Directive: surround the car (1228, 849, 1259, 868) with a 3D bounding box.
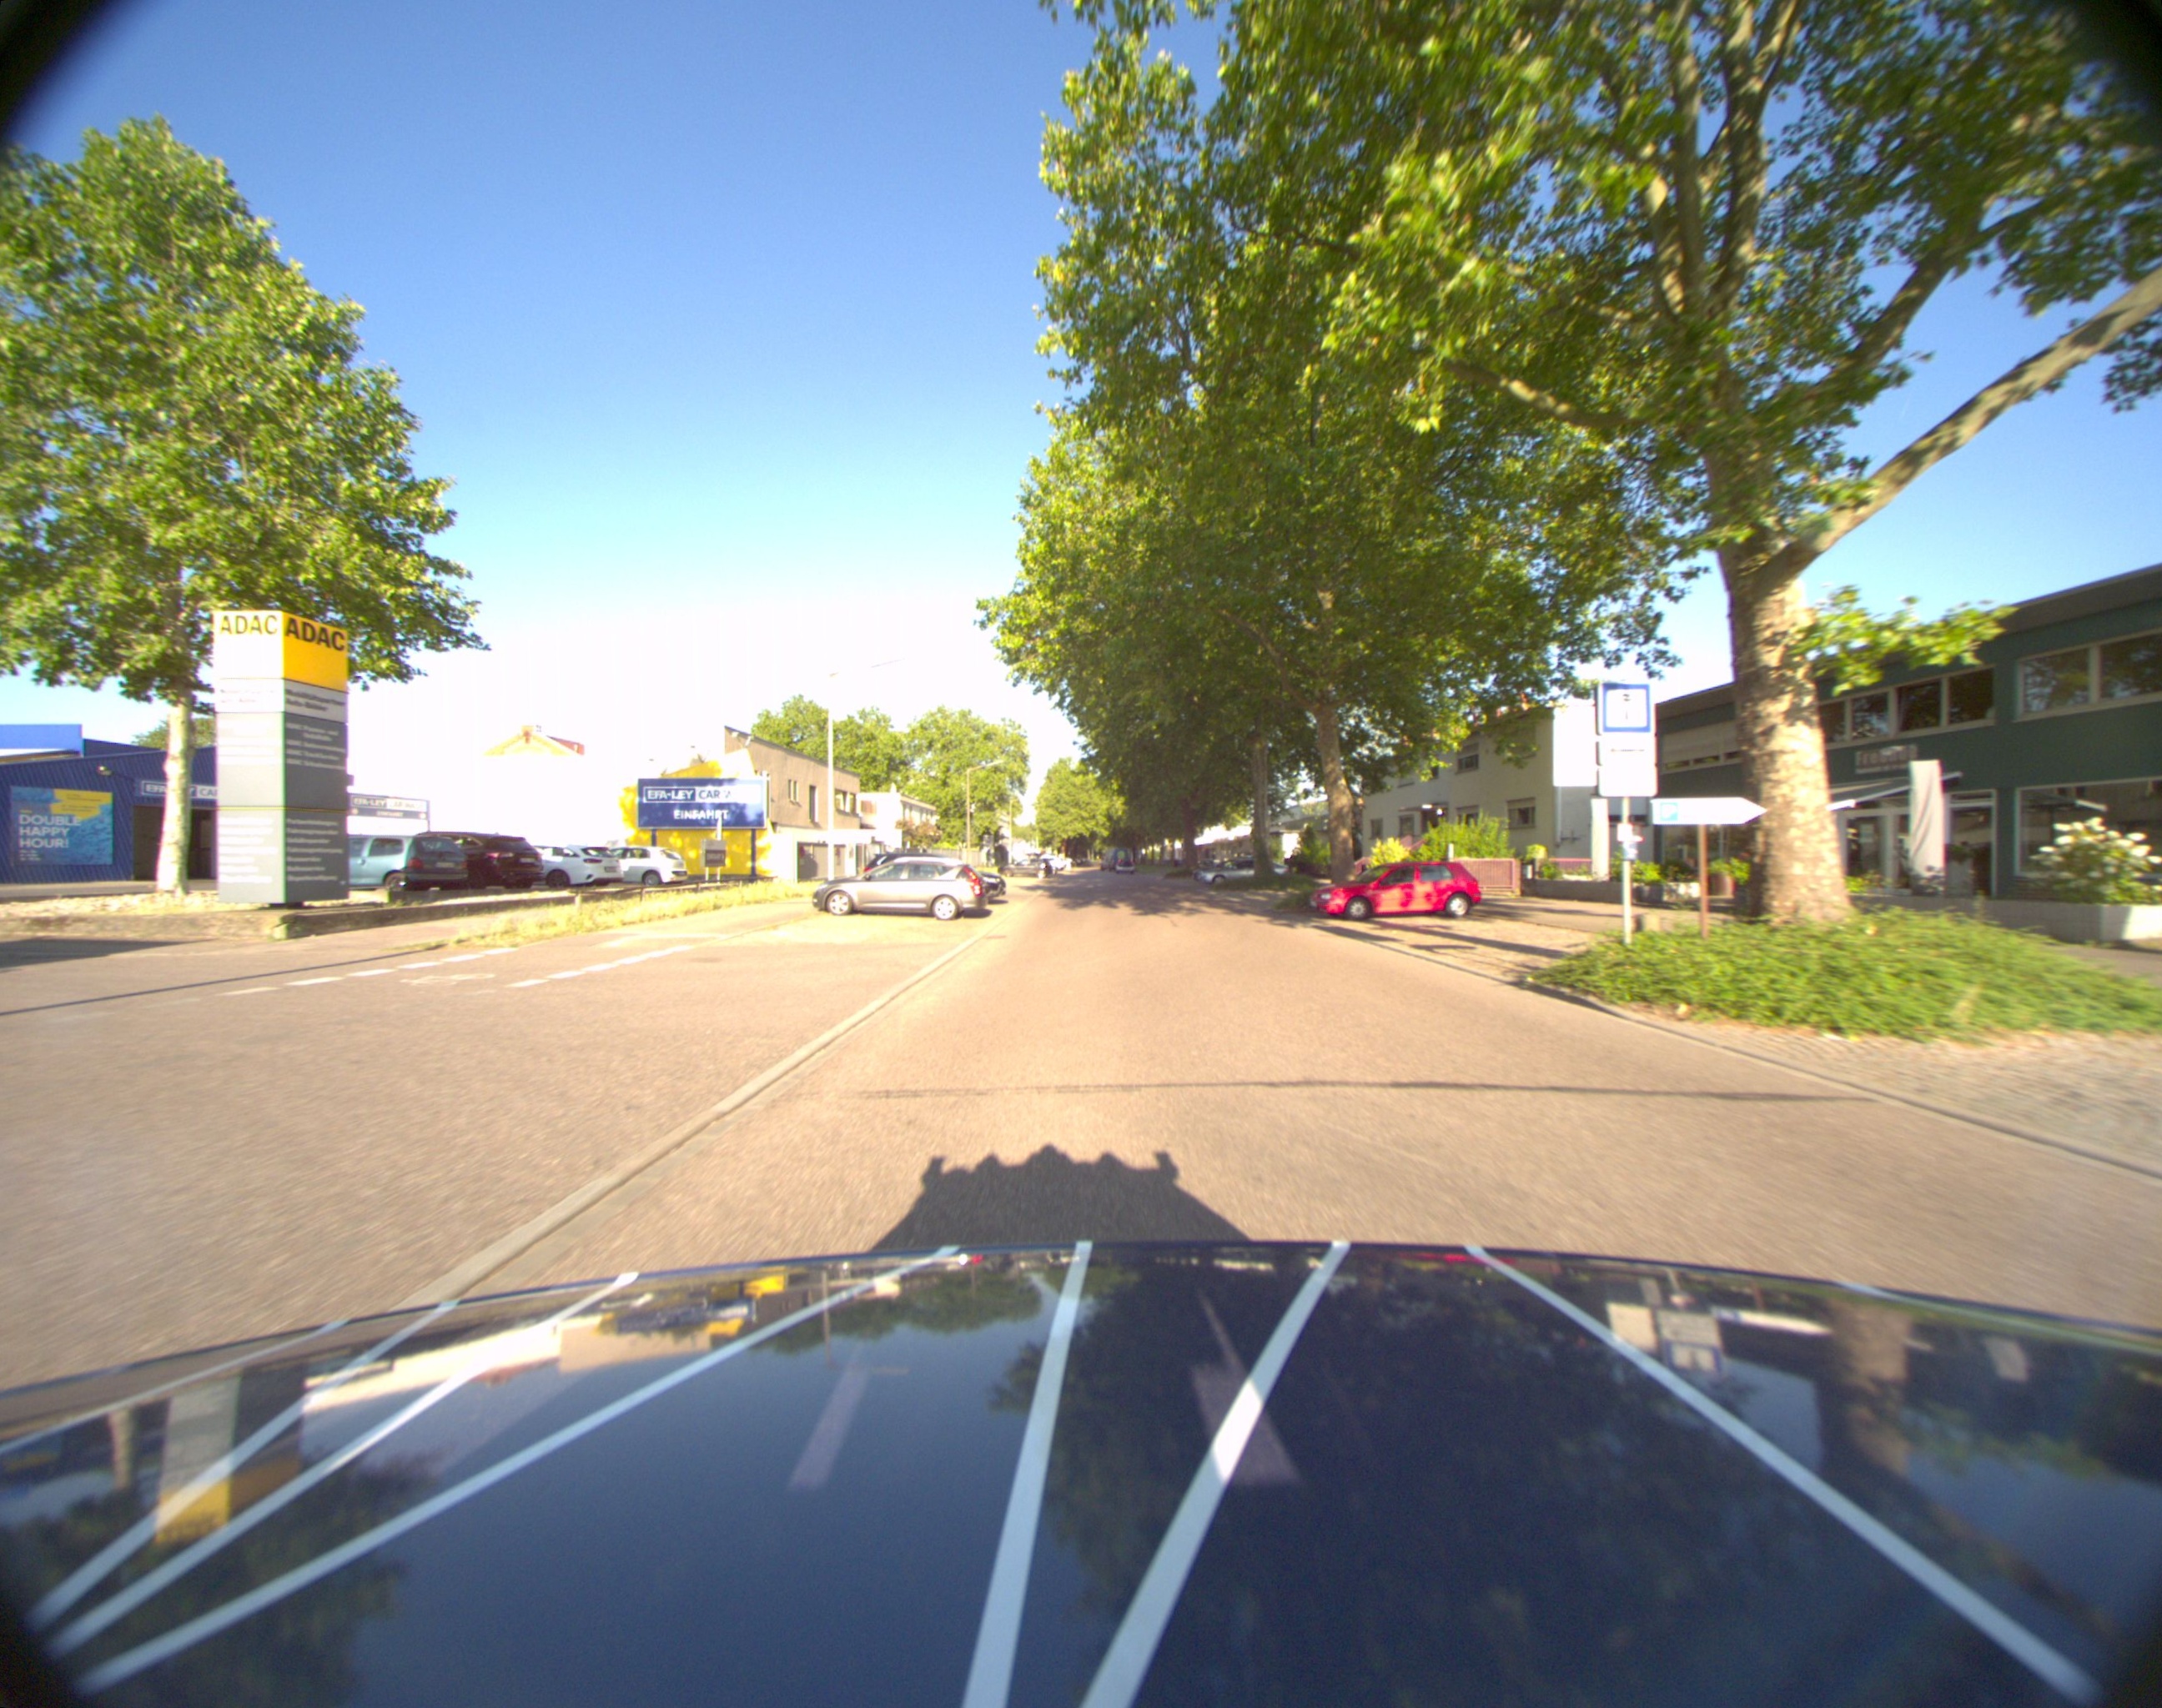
[{"bbox_3d":[14.502,0.415,67.859,1.998,1.567,4.273,-2,1,3],"label":"car"}]

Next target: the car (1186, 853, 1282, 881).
[{"bbox_3d":[7.942,0.684,39.758,4.611,1.413,2.000,-1,0,0],"label":"car"}]

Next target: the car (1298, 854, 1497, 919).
[{"bbox_3d":[8.047,0.799,19.633,4.307,1.438,2.000,-2,1,0],"label":"car"}]

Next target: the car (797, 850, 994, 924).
[{"bbox_3d":[-4.748,0.824,19.964,4.612,1.604,2.000,3,1,0],"label":"car"}]

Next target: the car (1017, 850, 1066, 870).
[{"bbox_3d":[-3.817,0.588,73.912,4.636,1.702,2.000,3,1,-1],"label":"car"}]

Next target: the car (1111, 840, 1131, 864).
[{"bbox_3d":[4.620,-0.221,88.965,2.133,2.644,7.002,0,0,1],"label":"car"}]

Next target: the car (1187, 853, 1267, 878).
[{"bbox_3d":[8.706,0.697,45.559,4.365,1.414,2.000,-1,0,-1],"label":"car"}]

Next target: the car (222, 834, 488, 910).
[{"bbox_3d":[-16.412,0.376,17.386,3.998,1.510,1.999,-2,1,-3],"label":"car"}]

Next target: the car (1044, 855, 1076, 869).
[{"bbox_3d":[-3.002,1.157,108.356,4.582,1.706,1.943,2,1,-3],"label":"car"}]

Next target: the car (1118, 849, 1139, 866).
[{"bbox_3d":[4.634,0.356,74.536,1.843,1.562,3.802,2,1,0],"label":"car"}]

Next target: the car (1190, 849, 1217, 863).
[{"bbox_3d":[13.238,0.171,82.507,1.999,1.362,3.919,4,0,-3],"label":"car"}]

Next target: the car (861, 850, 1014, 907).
[{"bbox_3d":[-4.722,0.780,25.453,4.611,1.571,2.000,3,1,3],"label":"car"}]

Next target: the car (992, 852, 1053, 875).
[{"bbox_3d":[-4.586,0.742,60.117,4.636,1.518,2.000,3,1,-1],"label":"car"}]

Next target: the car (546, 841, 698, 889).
[{"bbox_3d":[-15.884,0.366,26.476,3.998,1.488,1.999,-2,1,-3],"label":"car"}]

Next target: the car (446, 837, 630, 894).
[{"bbox_3d":[-16.153,0.326,22.775,3.998,1.510,1.952,-2,1,-3],"label":"car"}]

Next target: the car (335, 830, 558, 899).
[{"bbox_3d":[-16.416,0.247,19.861,3.998,1.586,1.999,-2,1,-3],"label":"car"}]
